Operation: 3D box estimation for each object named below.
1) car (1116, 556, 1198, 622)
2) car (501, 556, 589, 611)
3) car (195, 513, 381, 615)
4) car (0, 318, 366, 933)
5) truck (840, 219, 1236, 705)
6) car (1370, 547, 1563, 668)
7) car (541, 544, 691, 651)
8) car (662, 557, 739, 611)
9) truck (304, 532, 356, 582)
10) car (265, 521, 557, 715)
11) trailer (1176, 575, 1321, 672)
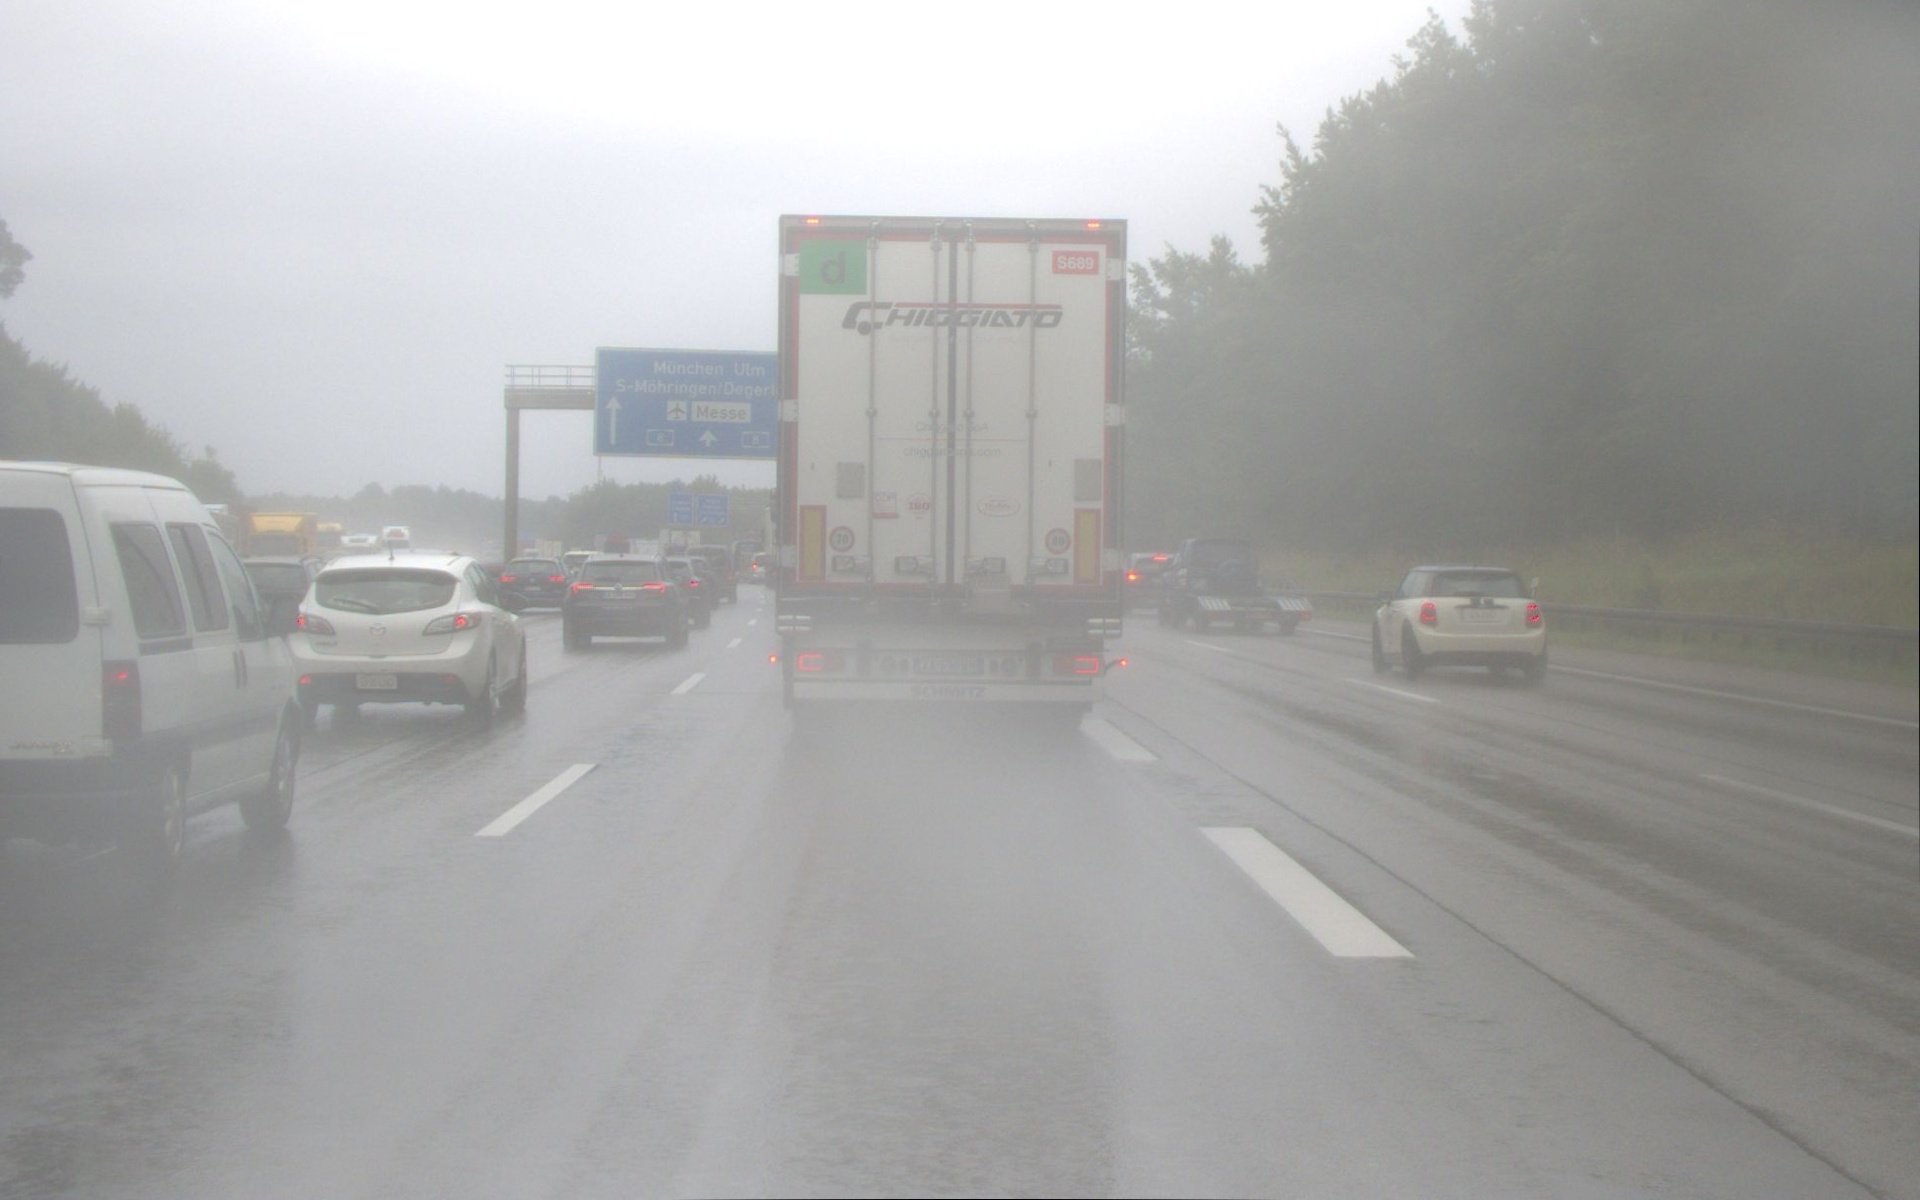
[{"bbox_3d":[4.981,-0.310,87.581,1.990,1.578,4.767,1,1,2],"label":"car"},{"bbox_3d":[-10.558,-0.439,87.714,1.845,1.326,4.467,1,1,-2],"label":"car"},{"bbox_3d":[-9.255,-0.529,47.665,1.845,1.326,4.467,1,1,-2],"label":"car"},{"bbox_3d":[-4.425,0.043,16.878,2.212,2.564,5.016,1,1,-1],"label":"car"},{"bbox_3d":[0.611,-1.076,31.003,2.872,3.550,11.302,1,1,0],"label":"truck"},{"bbox_3d":[6.292,0.055,43.104,1.790,1.402,4.228,1,1,0],"label":"car"},{"bbox_3d":[-5.416,-0.076,54.619,1.845,1.586,4.466,1,1,1],"label":"car"},{"bbox_3d":[-6.882,-0.438,91.469,1.845,1.326,4.467,1,1,-2],"label":"car"},{"bbox_3d":[-45.227,-3.140,247.093,2.519,3.471,11.722,1,1,-5],"label":"truck"},{"bbox_3d":[-4.803,0.103,30.588,1.845,1.586,4.072,1,1,1],"label":"car"},{"bbox_3d":[5.564,0.422,67.003,2.243,1.709,5.083,1,1,-2],"label":"trailer"}]
